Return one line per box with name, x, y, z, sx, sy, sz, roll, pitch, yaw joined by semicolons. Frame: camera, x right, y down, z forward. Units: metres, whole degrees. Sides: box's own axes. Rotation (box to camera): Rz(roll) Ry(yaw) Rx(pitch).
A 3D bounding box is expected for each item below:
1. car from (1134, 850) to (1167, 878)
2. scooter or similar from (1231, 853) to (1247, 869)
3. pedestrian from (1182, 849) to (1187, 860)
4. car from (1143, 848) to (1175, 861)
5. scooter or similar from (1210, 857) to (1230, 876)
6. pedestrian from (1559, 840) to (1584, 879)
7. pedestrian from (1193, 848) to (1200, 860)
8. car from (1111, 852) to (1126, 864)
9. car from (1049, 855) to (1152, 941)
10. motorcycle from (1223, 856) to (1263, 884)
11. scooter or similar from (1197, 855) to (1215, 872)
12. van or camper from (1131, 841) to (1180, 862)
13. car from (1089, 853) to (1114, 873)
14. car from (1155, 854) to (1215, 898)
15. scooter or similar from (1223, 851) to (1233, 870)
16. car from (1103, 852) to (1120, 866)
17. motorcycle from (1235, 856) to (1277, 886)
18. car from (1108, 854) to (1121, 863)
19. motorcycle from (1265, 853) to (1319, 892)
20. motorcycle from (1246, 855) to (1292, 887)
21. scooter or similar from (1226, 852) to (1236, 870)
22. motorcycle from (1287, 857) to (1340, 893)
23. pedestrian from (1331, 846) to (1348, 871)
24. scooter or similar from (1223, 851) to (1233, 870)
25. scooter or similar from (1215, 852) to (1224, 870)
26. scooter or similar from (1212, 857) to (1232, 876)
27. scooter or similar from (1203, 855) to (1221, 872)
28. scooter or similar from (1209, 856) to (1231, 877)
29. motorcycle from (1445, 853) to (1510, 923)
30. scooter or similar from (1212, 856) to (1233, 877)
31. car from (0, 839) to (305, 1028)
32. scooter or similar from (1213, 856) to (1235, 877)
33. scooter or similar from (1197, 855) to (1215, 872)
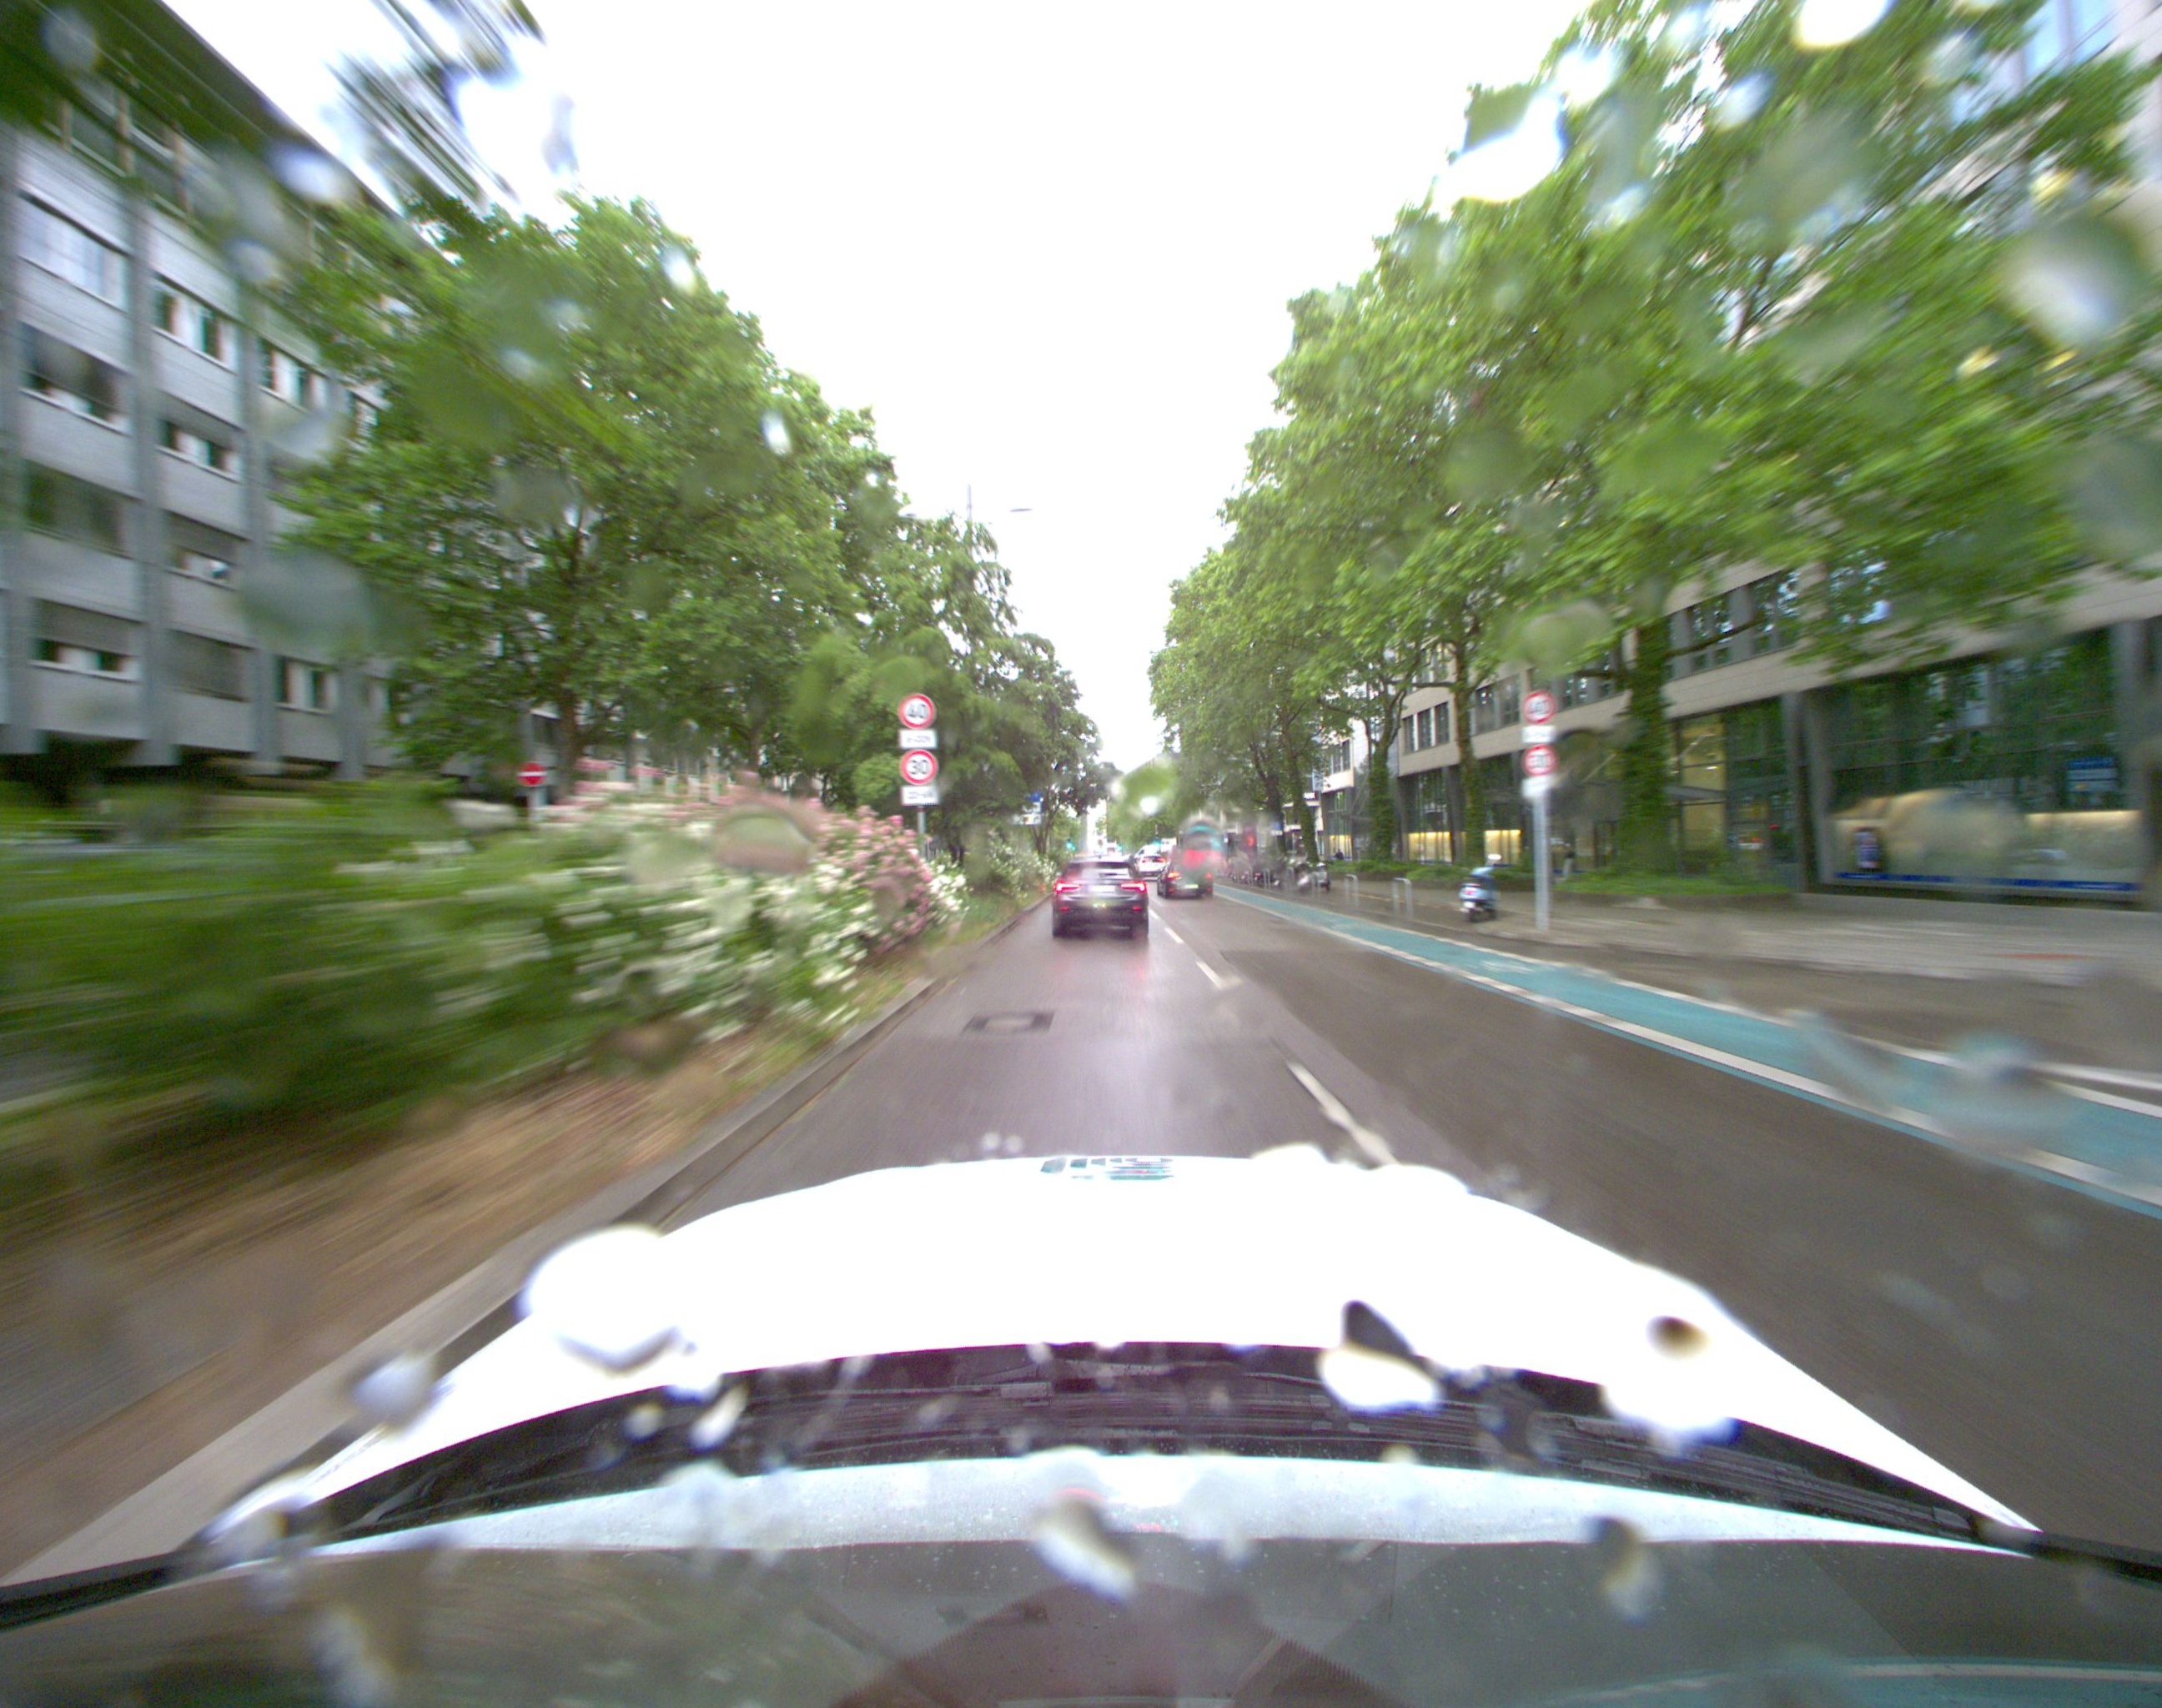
car;4.364;0.598;51.572;1.843;1.669;4.039;-1;0;1
scooter or similar;12.118;0.575;62.397;0.490;1.198;1.281;-1;-1;-30
pedestrian;16.041;0.101;126.272;0.551;1.805;0.761;0;-1;-2
car;9.719;0.080;101.694;3.618;1.547;1.723;-1;0;20
scooter or similar;9.839;0.875;57.662;1.284;1.235;0.489;-3;1;3
pedestrian;21.771;0.225;36.160;0.720;1.693;0.833;-2;0;44
pedestrian;16.945;-0.018;119.171;0.803;1.696;1.186;0;0;-3
car;5.065;0.528;110.000;1.843;1.523;4.039;-1;0;1
car;0.367;0.787;16.672;1.843;1.523;4.038;-1;0;0
motorcycle;8.833;0.867;44.412;1.959;1.373;0.725;-3;1;-16
scooter or similar;9.385;0.715;61.134;1.280;1.259;0.491;-2;1;12
van or camper;9.849;-0.347;107.873;6.008;2.558;2.117;-1;0;28
car;1.625;0.703;64.354;1.843;1.523;4.039;-1;0;1
car;3.848;0.780;30.725;1.843;1.523;4.039;-1;0;1
scooter or similar;10.619;0.469;58.815;0.486;1.259;1.294;-3;1;1
car;3.378;0.604;91.893;1.843;1.523;4.039;-1;0;1
motorcycle;8.845;0.825;41.137;1.962;1.373;0.724;-3;1;-21
car;5.351;0.719;130.181;1.843;1.523;4.039;-1;0;1
motorcycle;8.625;0.744;33.310;2.061;1.428;0.724;-3;1;-21
motorcycle;8.683;0.781;37.705;1.962;1.373;0.724;-3;1;-21
scooter or similar;11.024;0.481;60.042;0.486;1.259;1.294;-3;1;1
motorcycle;8.843;0.797;30.945;2.069;1.213;0.677;-4;0;-35
pedestrian;19.337;0.365;60.987;0.914;1.850;1.277;0;-1;2
scooter or similar;10.619;0.469;58.815;0.486;1.259;1.294;-3;1;1
scooter or similar;10.491;0.507;61.753;0.486;1.259;1.294;-3;1;1
scooter or similar;9.825;0.866;56.917;1.284;1.235;0.489;-3;1;3
scooter or similar;9.747;0.706;60.597;1.280;1.259;0.491;-2;1;12
scooter or similar;9.355;0.843;54.784;1.289;1.278;0.535;-3;1;-10
motorcycle;8.636;0.714;17.684;0.676;1.367;1.958;-5;-1;41
scooter or similar;9.414;0.834;54.099;1.283;1.278;0.538;-3;1;5
car;-10.237;0.701;7.776;1.716;1.638;4.016;-1;0;2
scooter or similar;9.420;0.828;53.655;1.283;1.278;0.538;-3;1;5
scooter or similar;9.475;0.722;61.745;1.280;1.259;0.491;-2;1;12
